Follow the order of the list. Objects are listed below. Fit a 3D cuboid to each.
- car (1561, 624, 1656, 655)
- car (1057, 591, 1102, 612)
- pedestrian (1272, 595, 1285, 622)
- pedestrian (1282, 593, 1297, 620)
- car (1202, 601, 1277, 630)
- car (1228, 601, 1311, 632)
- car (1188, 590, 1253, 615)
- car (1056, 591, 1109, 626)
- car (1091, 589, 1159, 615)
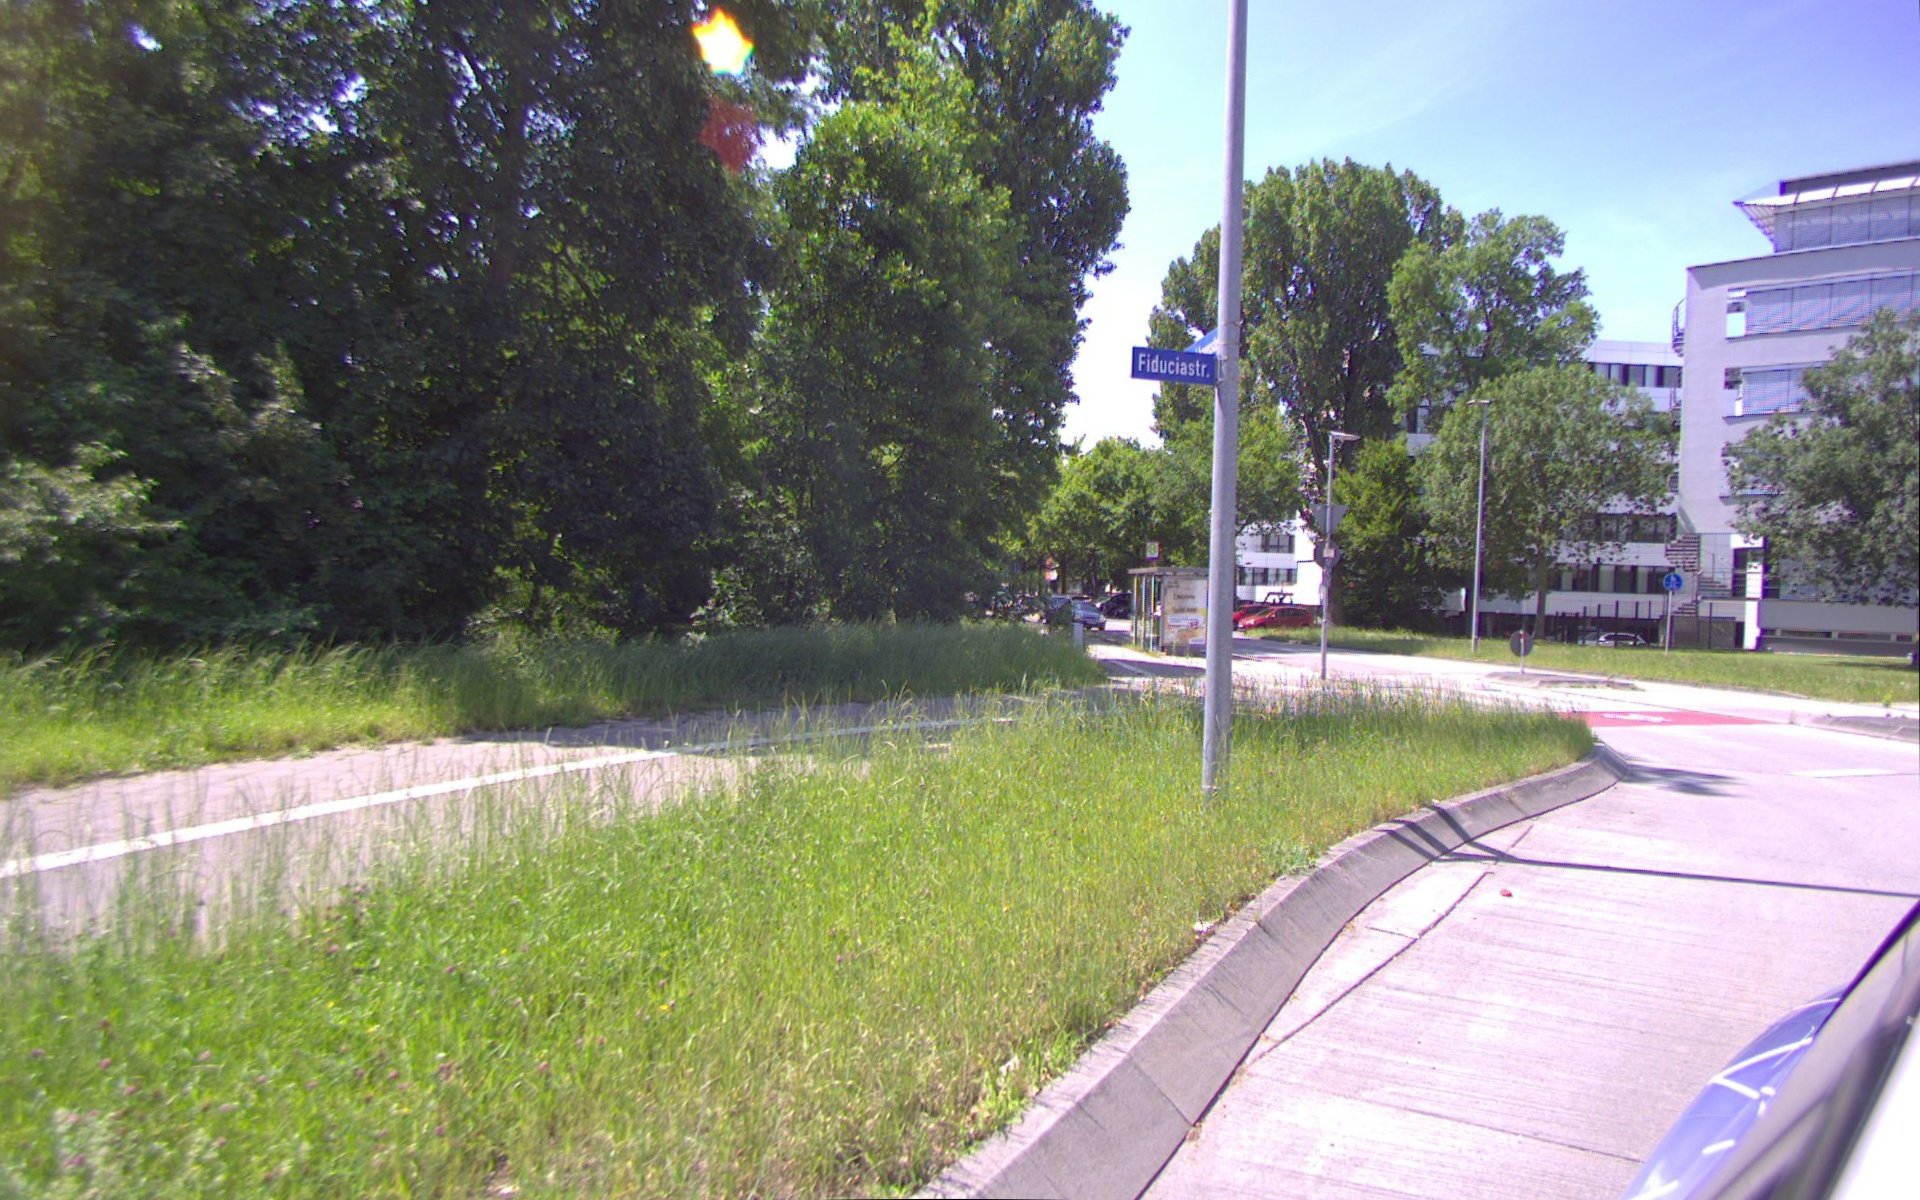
[{"bbox_3d":[36.763,2.225,57.401,4.269,1.589,1.855,1,-1,-5],"label":"car"},{"bbox_3d":[11.297,0.110,96.038,3.918,1.896,1.687,1,-1,-7],"label":"car"},{"bbox_3d":[19.643,0.507,62.422,0.576,1.637,0.487,1,-1,-18],"label":"pedestrian"},{"bbox_3d":[20.320,0.380,62.368,0.560,1.628,0.645,1,-1,-19],"label":"pedestrian"},{"bbox_3d":[15.774,0.868,57.226,3.609,1.502,1.872,1,0,-9],"label":"car"},{"bbox_3d":[15.938,0.850,52.197,3.609,1.502,1.872,1,0,-9],"label":"car"},{"bbox_3d":[17.356,0.160,67.496,3.709,1.536,1.815,1,-1,-6],"label":"car"},{"bbox_3d":[6.010,0.410,49.982,1.669,1.505,4.004,4,-1,-5],"label":"car"},{"bbox_3d":[13.684,0.176,83.944,5.208,2.010,1.761,1,-1,-5],"label":"car"}]
